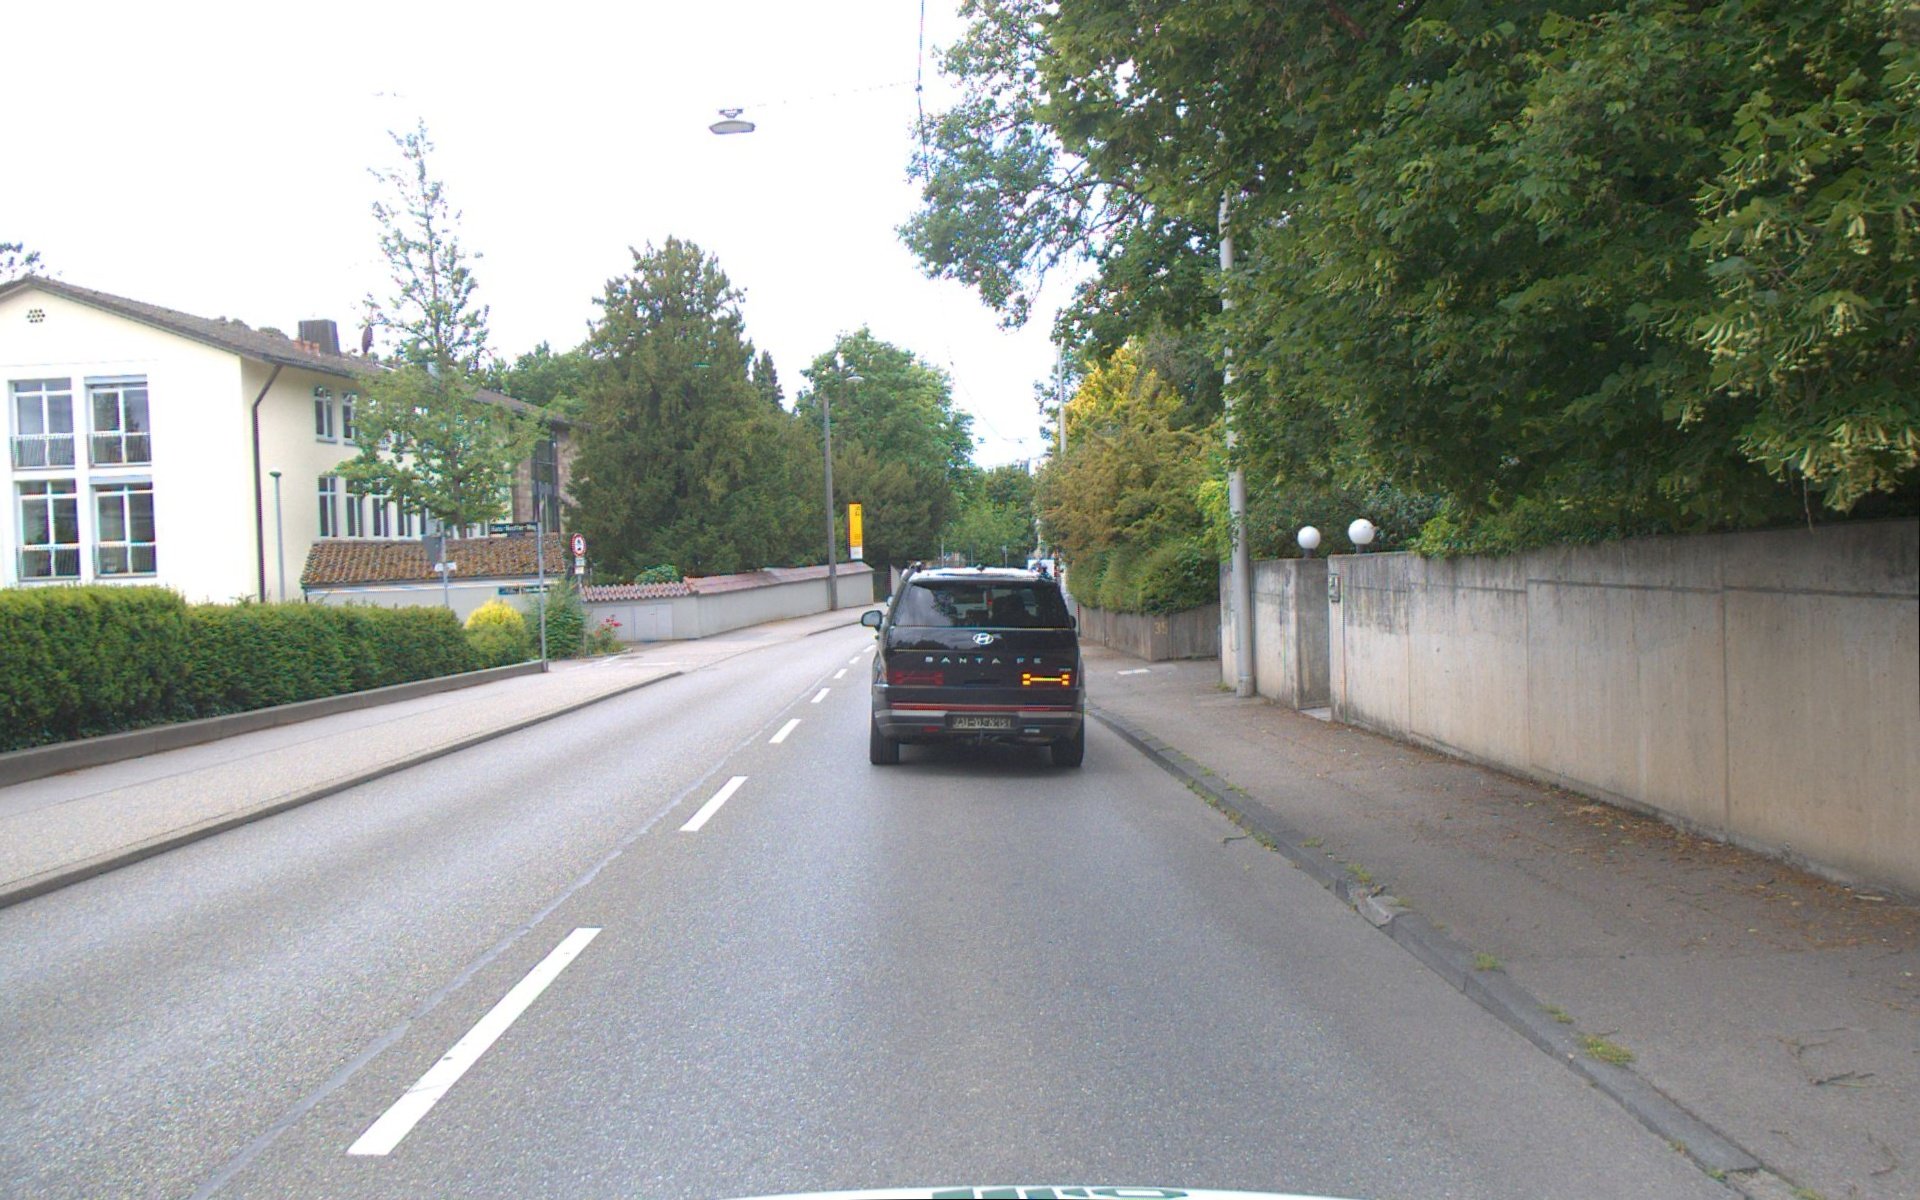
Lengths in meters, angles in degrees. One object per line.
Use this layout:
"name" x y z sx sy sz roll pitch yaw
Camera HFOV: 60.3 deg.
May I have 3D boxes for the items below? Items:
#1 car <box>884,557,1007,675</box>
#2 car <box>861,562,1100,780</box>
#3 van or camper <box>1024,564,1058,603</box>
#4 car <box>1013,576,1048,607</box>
"car" -0.196 0.222 30.865 1.916 1.989 4.226 1 2 4
"car" 0.131 0.551 15.465 1.917 1.743 4.222 1 1 -1
"van or camper" 4.711 -0.982 95.745 1.640 2.042 3.942 -2 2 7
"car" 3.502 -0.399 81.649 1.640 1.447 3.939 -1 0 3
